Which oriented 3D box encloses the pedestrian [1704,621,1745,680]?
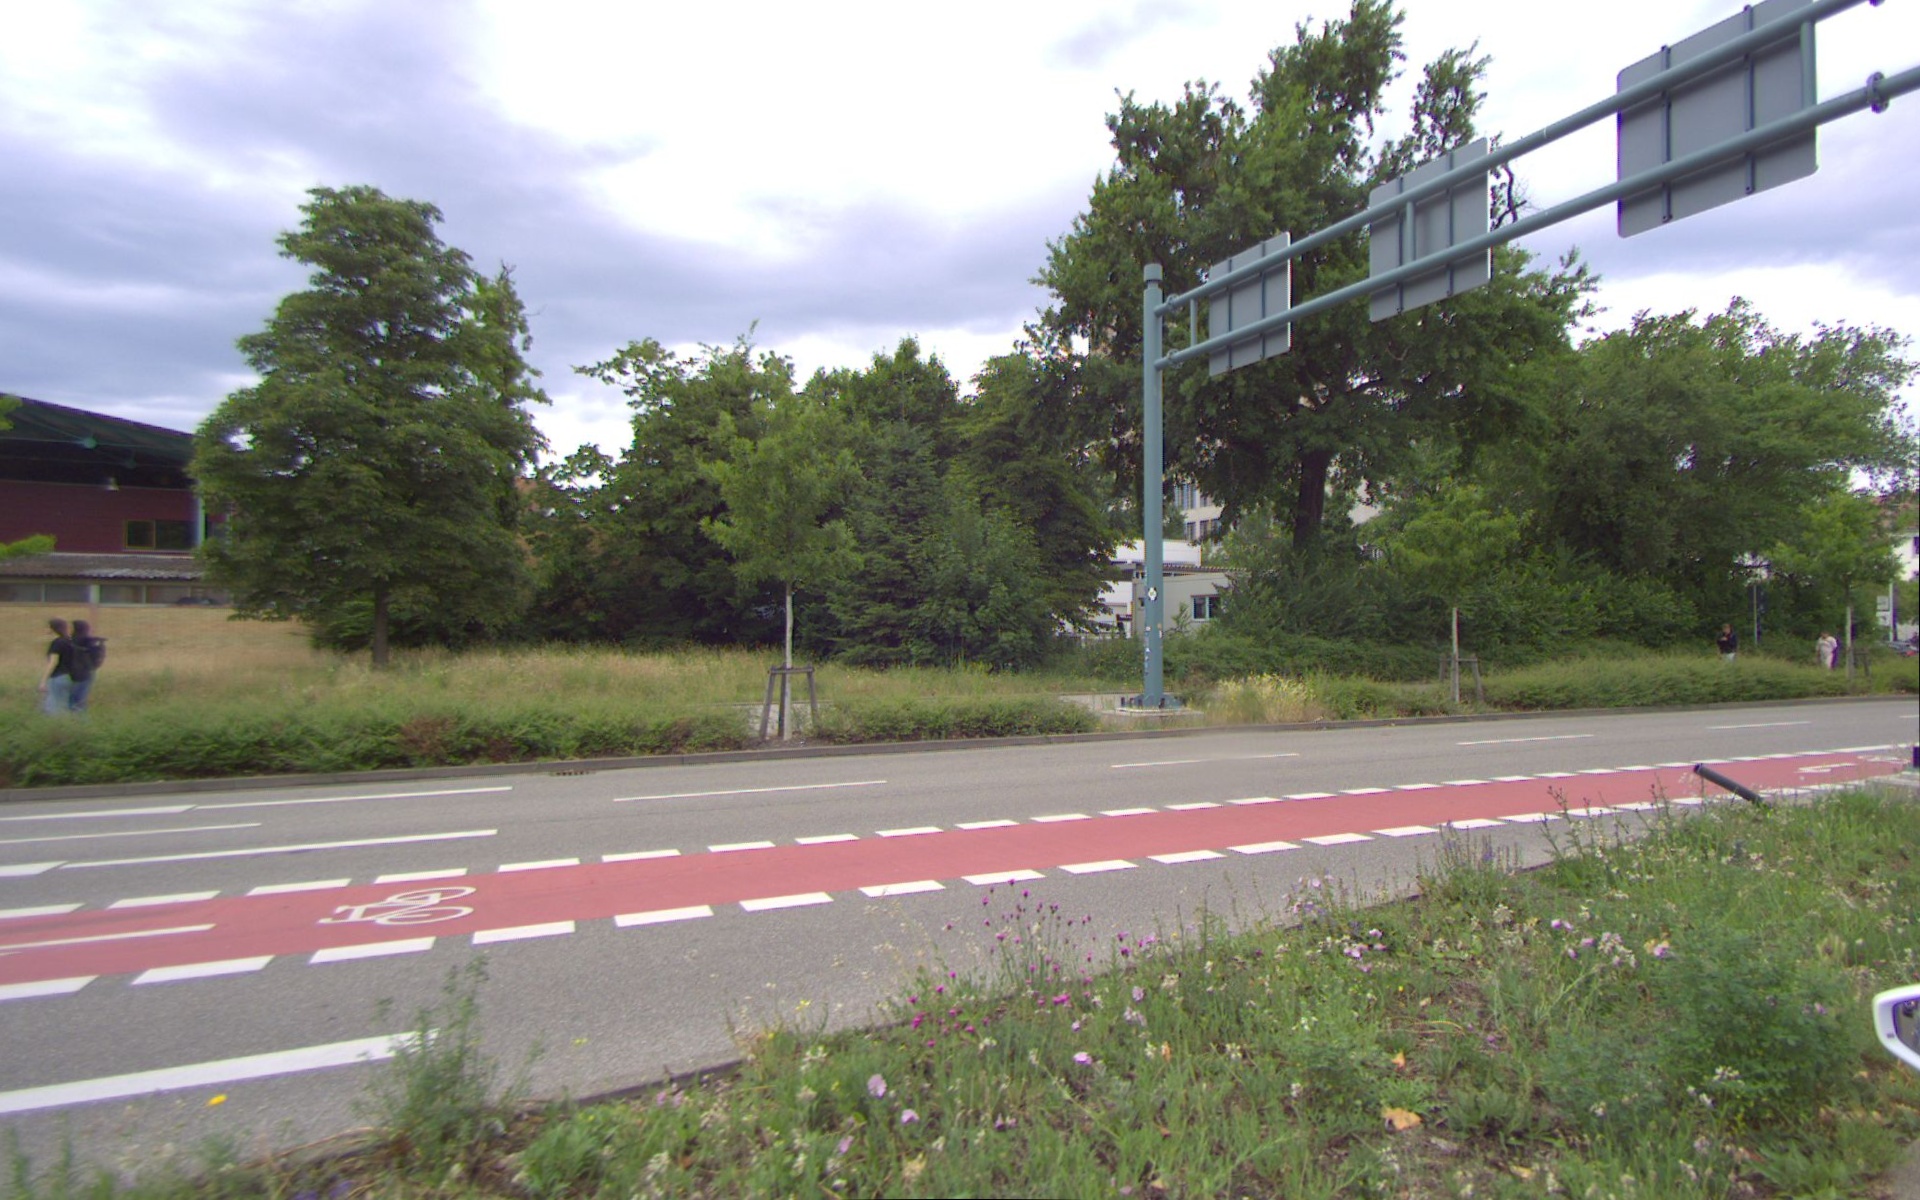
[{"bbox_3d":[23.082,1.533,30.329,0.807,1.752,0.619,0,-3,-23],"label":"pedestrian"}]

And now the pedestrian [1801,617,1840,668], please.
[{"bbox_3d":[28.324,1.395,33.076,0.662,1.657,0.698,0,-3,-23],"label":"pedestrian"}]

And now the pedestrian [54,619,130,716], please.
[{"bbox_3d":[-12.734,0.978,14.760,0.671,1.380,0.643,0,-3,-25],"label":"pedestrian"}]

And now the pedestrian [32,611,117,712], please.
[{"bbox_3d":[-12.417,0.857,14.106,0.701,1.375,0.643,0,-3,-24],"label":"pedestrian"}]

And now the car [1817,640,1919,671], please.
[{"bbox_3d":[49.115,2.976,54.268,1.609,1.472,4.017,-6,2,-40],"label":"car"}]
